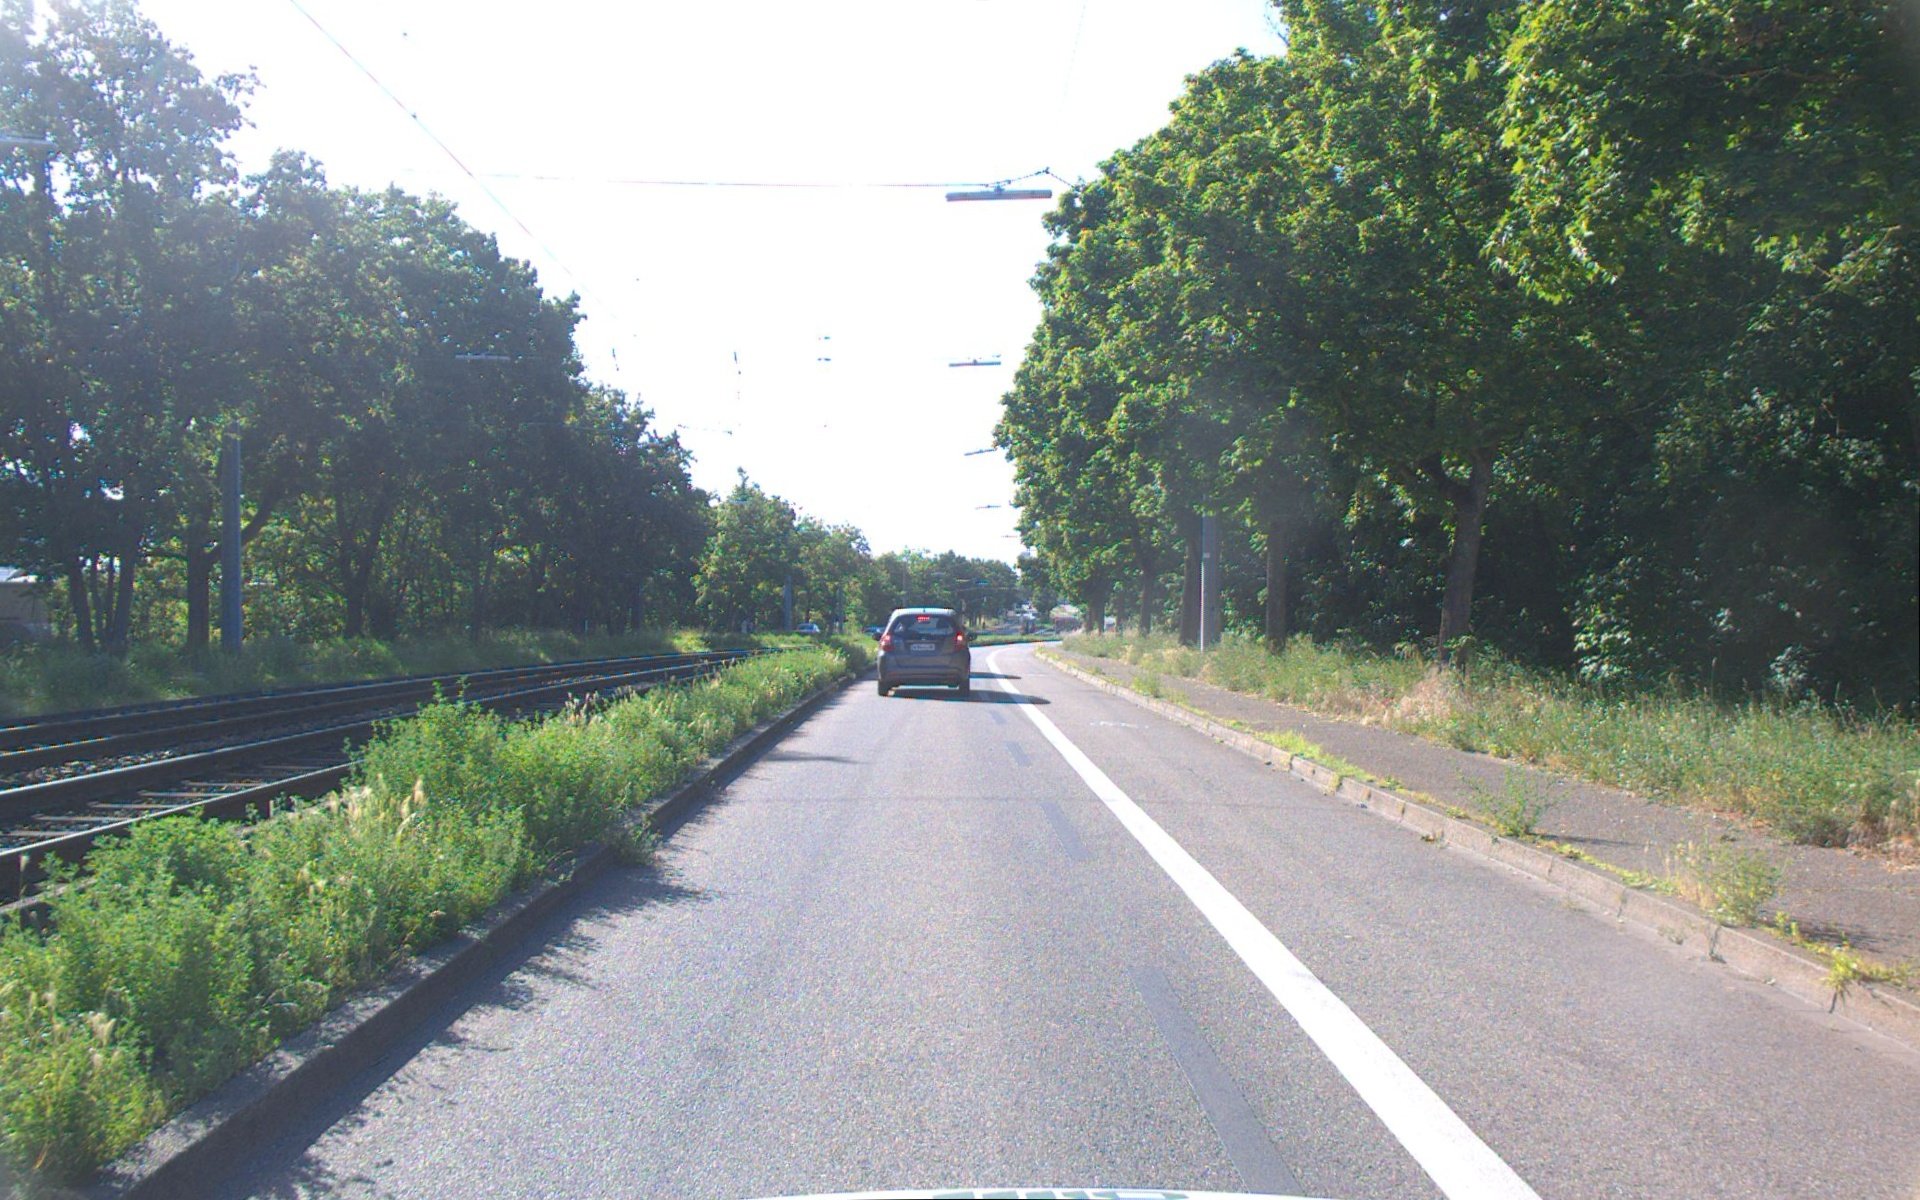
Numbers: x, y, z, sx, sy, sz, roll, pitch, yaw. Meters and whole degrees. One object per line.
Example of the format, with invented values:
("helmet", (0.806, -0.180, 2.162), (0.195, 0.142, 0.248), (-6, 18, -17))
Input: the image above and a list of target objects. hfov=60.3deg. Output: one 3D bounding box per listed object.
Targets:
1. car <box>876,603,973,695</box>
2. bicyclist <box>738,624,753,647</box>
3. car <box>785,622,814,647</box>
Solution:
("car", (-0.625, 0.879, 30.498), (1.636, 1.534, 3.810), (1, -1, 0))
("bicyclist", (-14.495, 2.398, 111.914), (0.773, 1.515, 1.109), (1, 1, 2))
("car", (-13.813, 2.988, 142.562), (1.952, 1.908, 4.002), (1, 2, 2))
